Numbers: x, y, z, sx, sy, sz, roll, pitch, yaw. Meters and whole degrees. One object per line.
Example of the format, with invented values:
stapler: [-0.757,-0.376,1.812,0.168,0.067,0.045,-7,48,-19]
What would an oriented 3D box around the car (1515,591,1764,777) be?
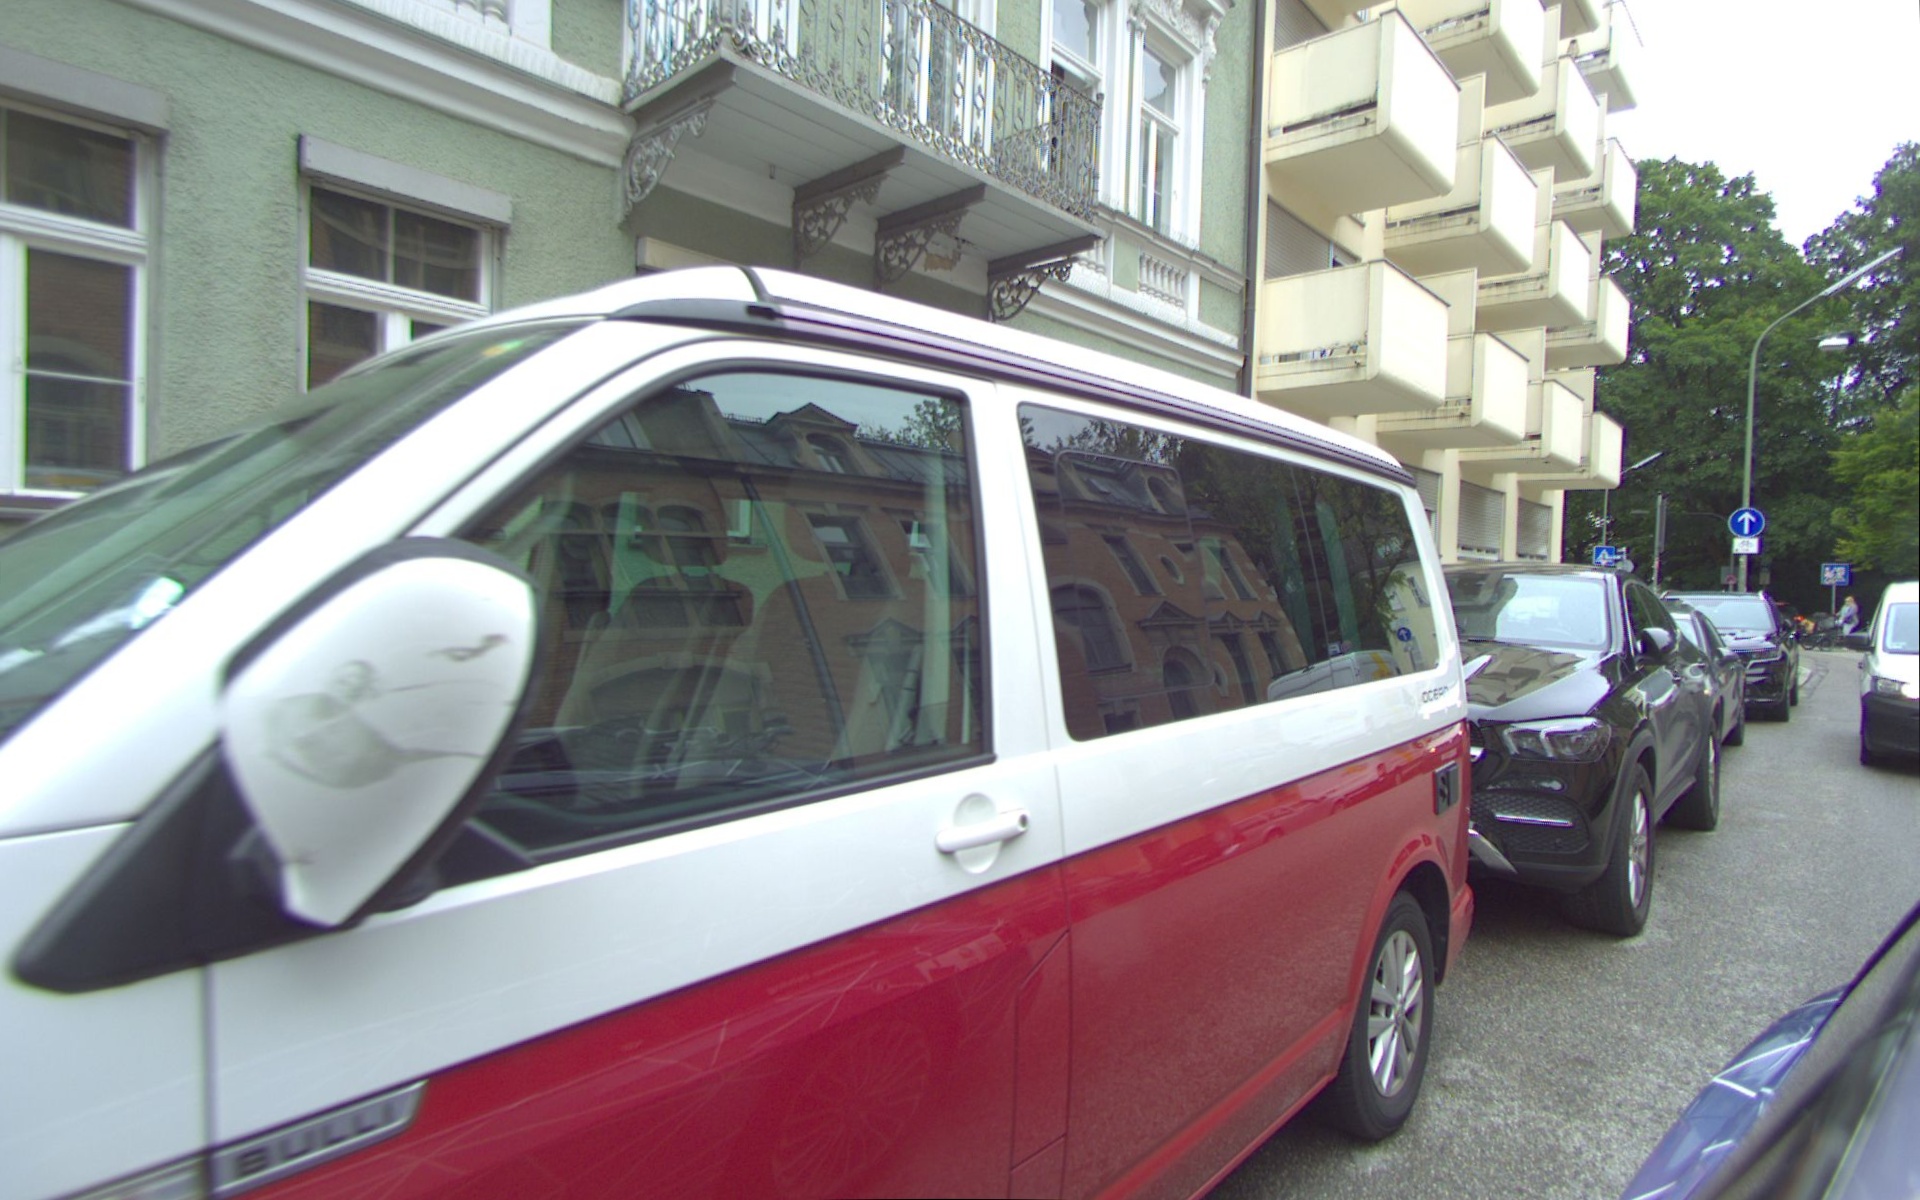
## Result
car: [6.983,0.687,10.225,1.546,1.515,3.917,0,0,42]

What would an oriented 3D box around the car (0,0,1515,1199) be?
car: [-0.315,0.395,2.402,1.853,1.920,4.520,0,0,43]

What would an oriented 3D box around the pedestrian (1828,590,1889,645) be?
pedestrian: [30.087,0.565,33.921,1.057,1.822,1.093,0,0,0]

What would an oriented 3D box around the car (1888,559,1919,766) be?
car: [10.176,0.556,9.740,1.771,1.794,3.937,1,0,43]

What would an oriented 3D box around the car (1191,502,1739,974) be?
car: [3.336,0.535,6.117,1.826,1.780,4.483,0,0,42]

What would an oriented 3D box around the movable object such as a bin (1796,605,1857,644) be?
movable object such as a bin: [29.041,0.802,33.936,1.057,1.279,1.096,0,0,1]

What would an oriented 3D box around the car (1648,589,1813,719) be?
car: [11.061,0.663,14.434,1.546,1.591,3.917,0,0,42]
